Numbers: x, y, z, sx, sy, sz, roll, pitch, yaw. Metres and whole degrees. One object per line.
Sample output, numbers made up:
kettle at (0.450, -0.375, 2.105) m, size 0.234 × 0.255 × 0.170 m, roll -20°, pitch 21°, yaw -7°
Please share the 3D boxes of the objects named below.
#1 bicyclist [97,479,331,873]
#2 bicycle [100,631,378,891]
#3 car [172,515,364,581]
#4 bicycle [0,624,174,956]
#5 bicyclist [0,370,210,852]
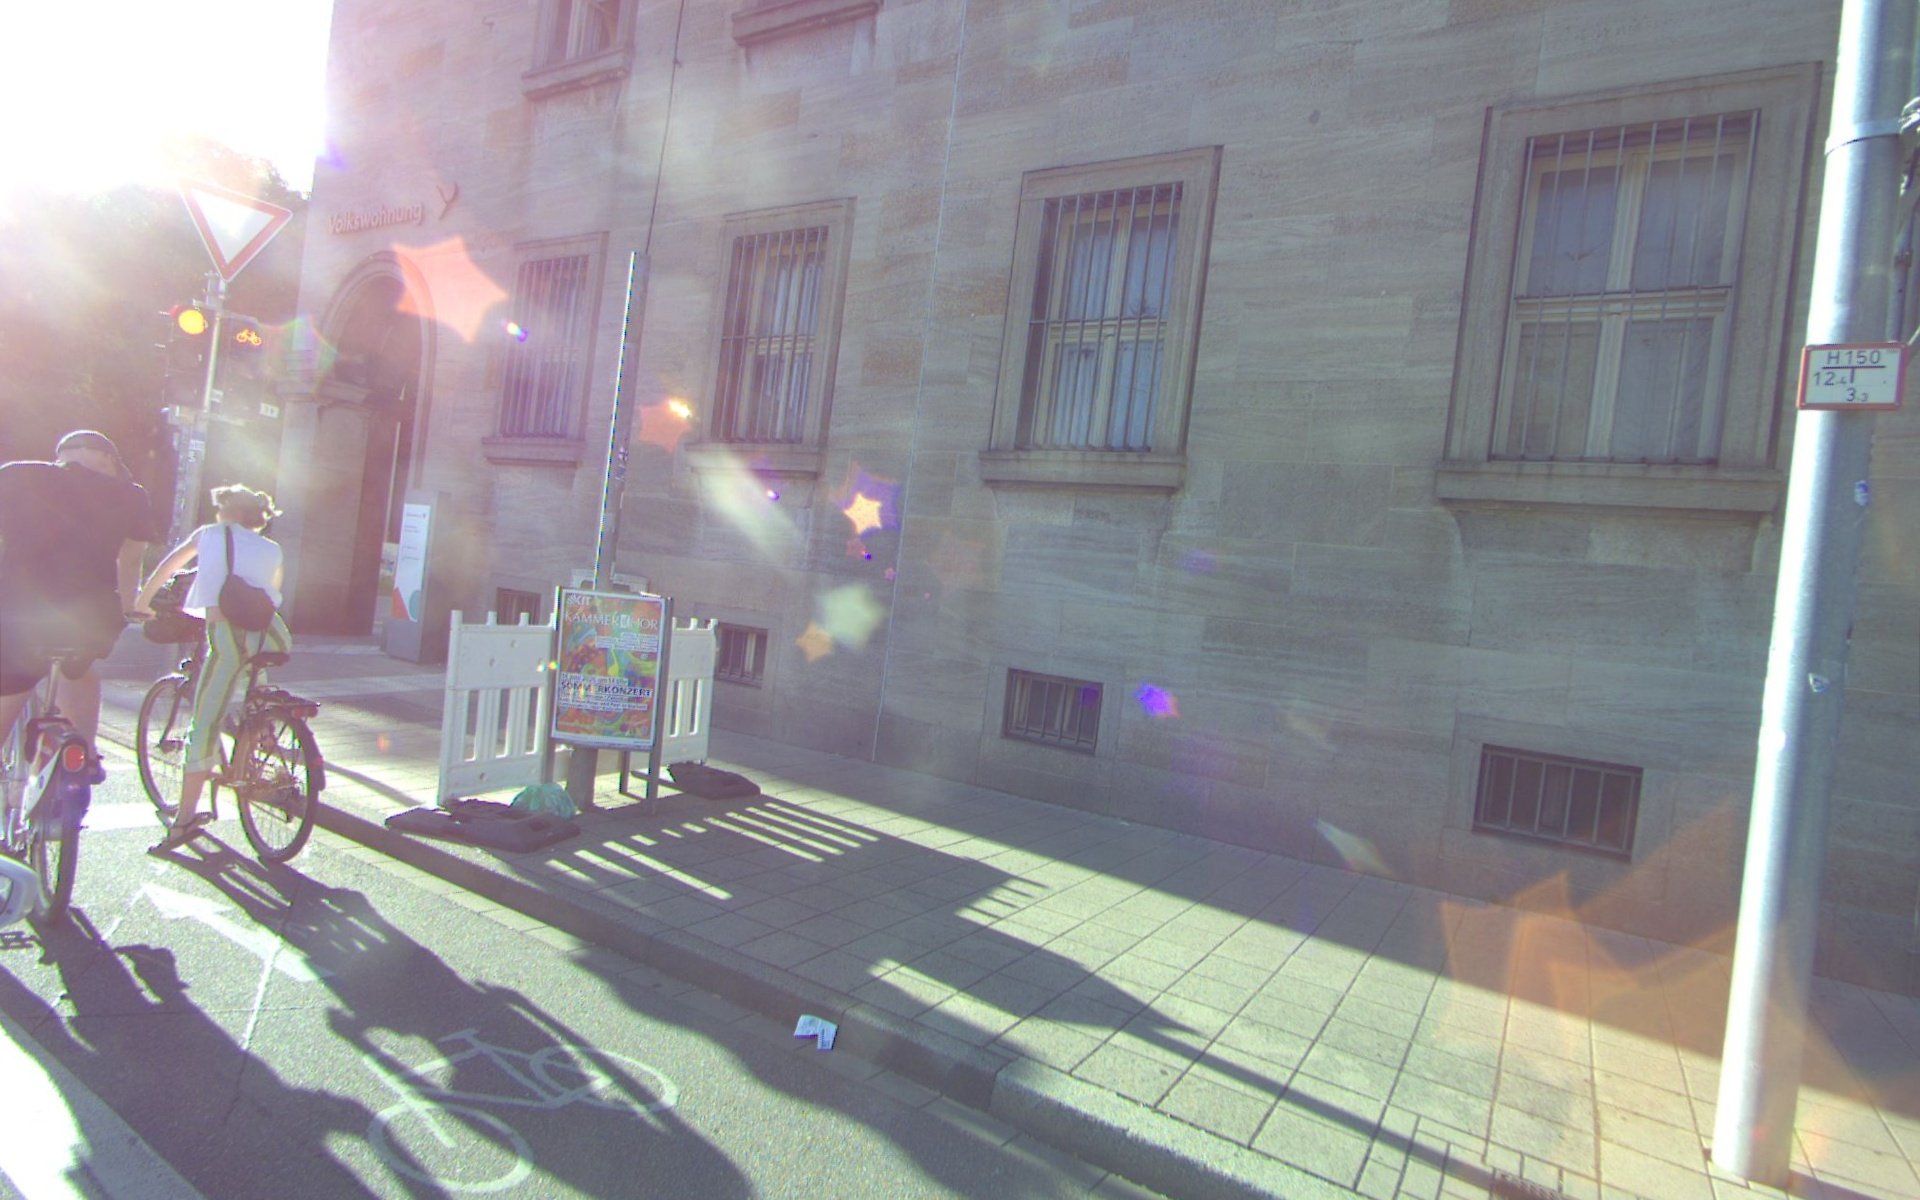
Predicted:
bicyclist at (-3.587, 0.325, 4.830) m, size 0.845 × 1.700 × 0.522 m, roll 7°, pitch 1°, yaw 35°
bicycle at (-3.609, 0.713, 4.962) m, size 1.920 × 0.887 × 0.427 m, roll 7°, pitch 0°, yaw 35°
car at (-21.059, -1.541, 30.811) m, size 1.748 × 1.345 × 4.446 m, roll 7°, pitch -1°, yaw 34°
bicycle at (-3.731, 0.658, 4.102) m, size 1.923 × 0.916 × 0.388 m, roll 7°, pitch 0°, yaw 41°
bicyclist at (-3.507, 0.044, 3.913) m, size 0.647 × 1.698 × 0.669 m, roll 7°, pitch 1°, yaw 39°
